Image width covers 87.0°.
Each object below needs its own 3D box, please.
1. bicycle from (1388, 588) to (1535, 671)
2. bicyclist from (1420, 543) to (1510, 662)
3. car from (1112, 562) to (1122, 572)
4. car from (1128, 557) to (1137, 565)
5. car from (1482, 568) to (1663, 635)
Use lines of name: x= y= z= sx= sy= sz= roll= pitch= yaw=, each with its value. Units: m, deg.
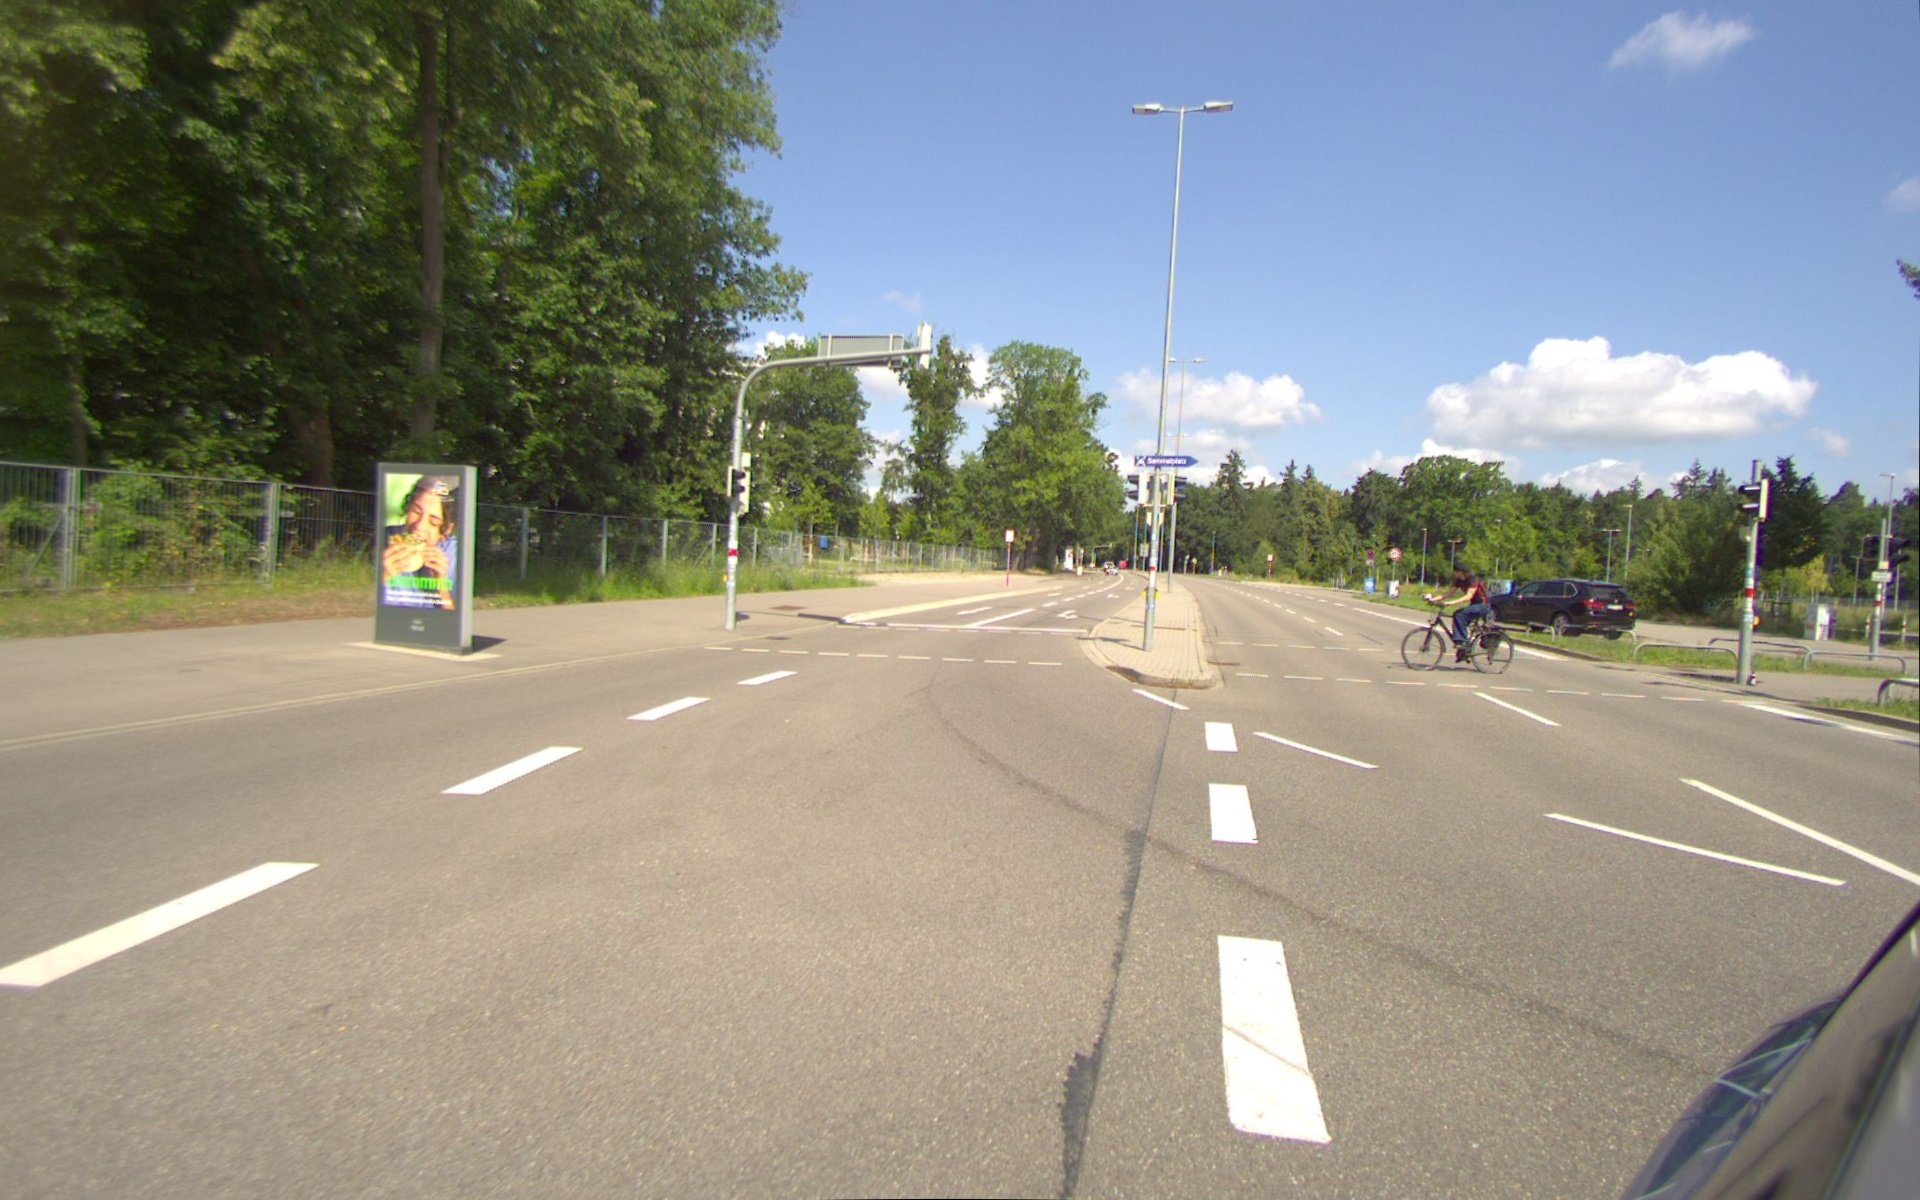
bicycle: x=7.992 y=0.452 z=16.210 sx=1.865 sy=1.221 sz=0.882 roll=2 pitch=1 yaw=7
bicyclist: x=8.059 y=0.011 z=16.185 sx=0.962 sy=1.819 sz=0.886 roll=2 pitch=2 yaw=7
car: x=23.591 y=-4.943 z=152.132 sx=1.555 sy=1.497 sz=3.563 roll=2 pitch=3 yaw=9
car: x=33.976 y=-7.735 z=199.423 sx=1.556 sy=1.497 sz=3.560 roll=2 pitch=3 yaw=11
car: x=18.522 y=-0.024 z=30.896 sx=1.940 sy=1.786 sz=4.718 roll=1 pitch=2 yaw=-13
